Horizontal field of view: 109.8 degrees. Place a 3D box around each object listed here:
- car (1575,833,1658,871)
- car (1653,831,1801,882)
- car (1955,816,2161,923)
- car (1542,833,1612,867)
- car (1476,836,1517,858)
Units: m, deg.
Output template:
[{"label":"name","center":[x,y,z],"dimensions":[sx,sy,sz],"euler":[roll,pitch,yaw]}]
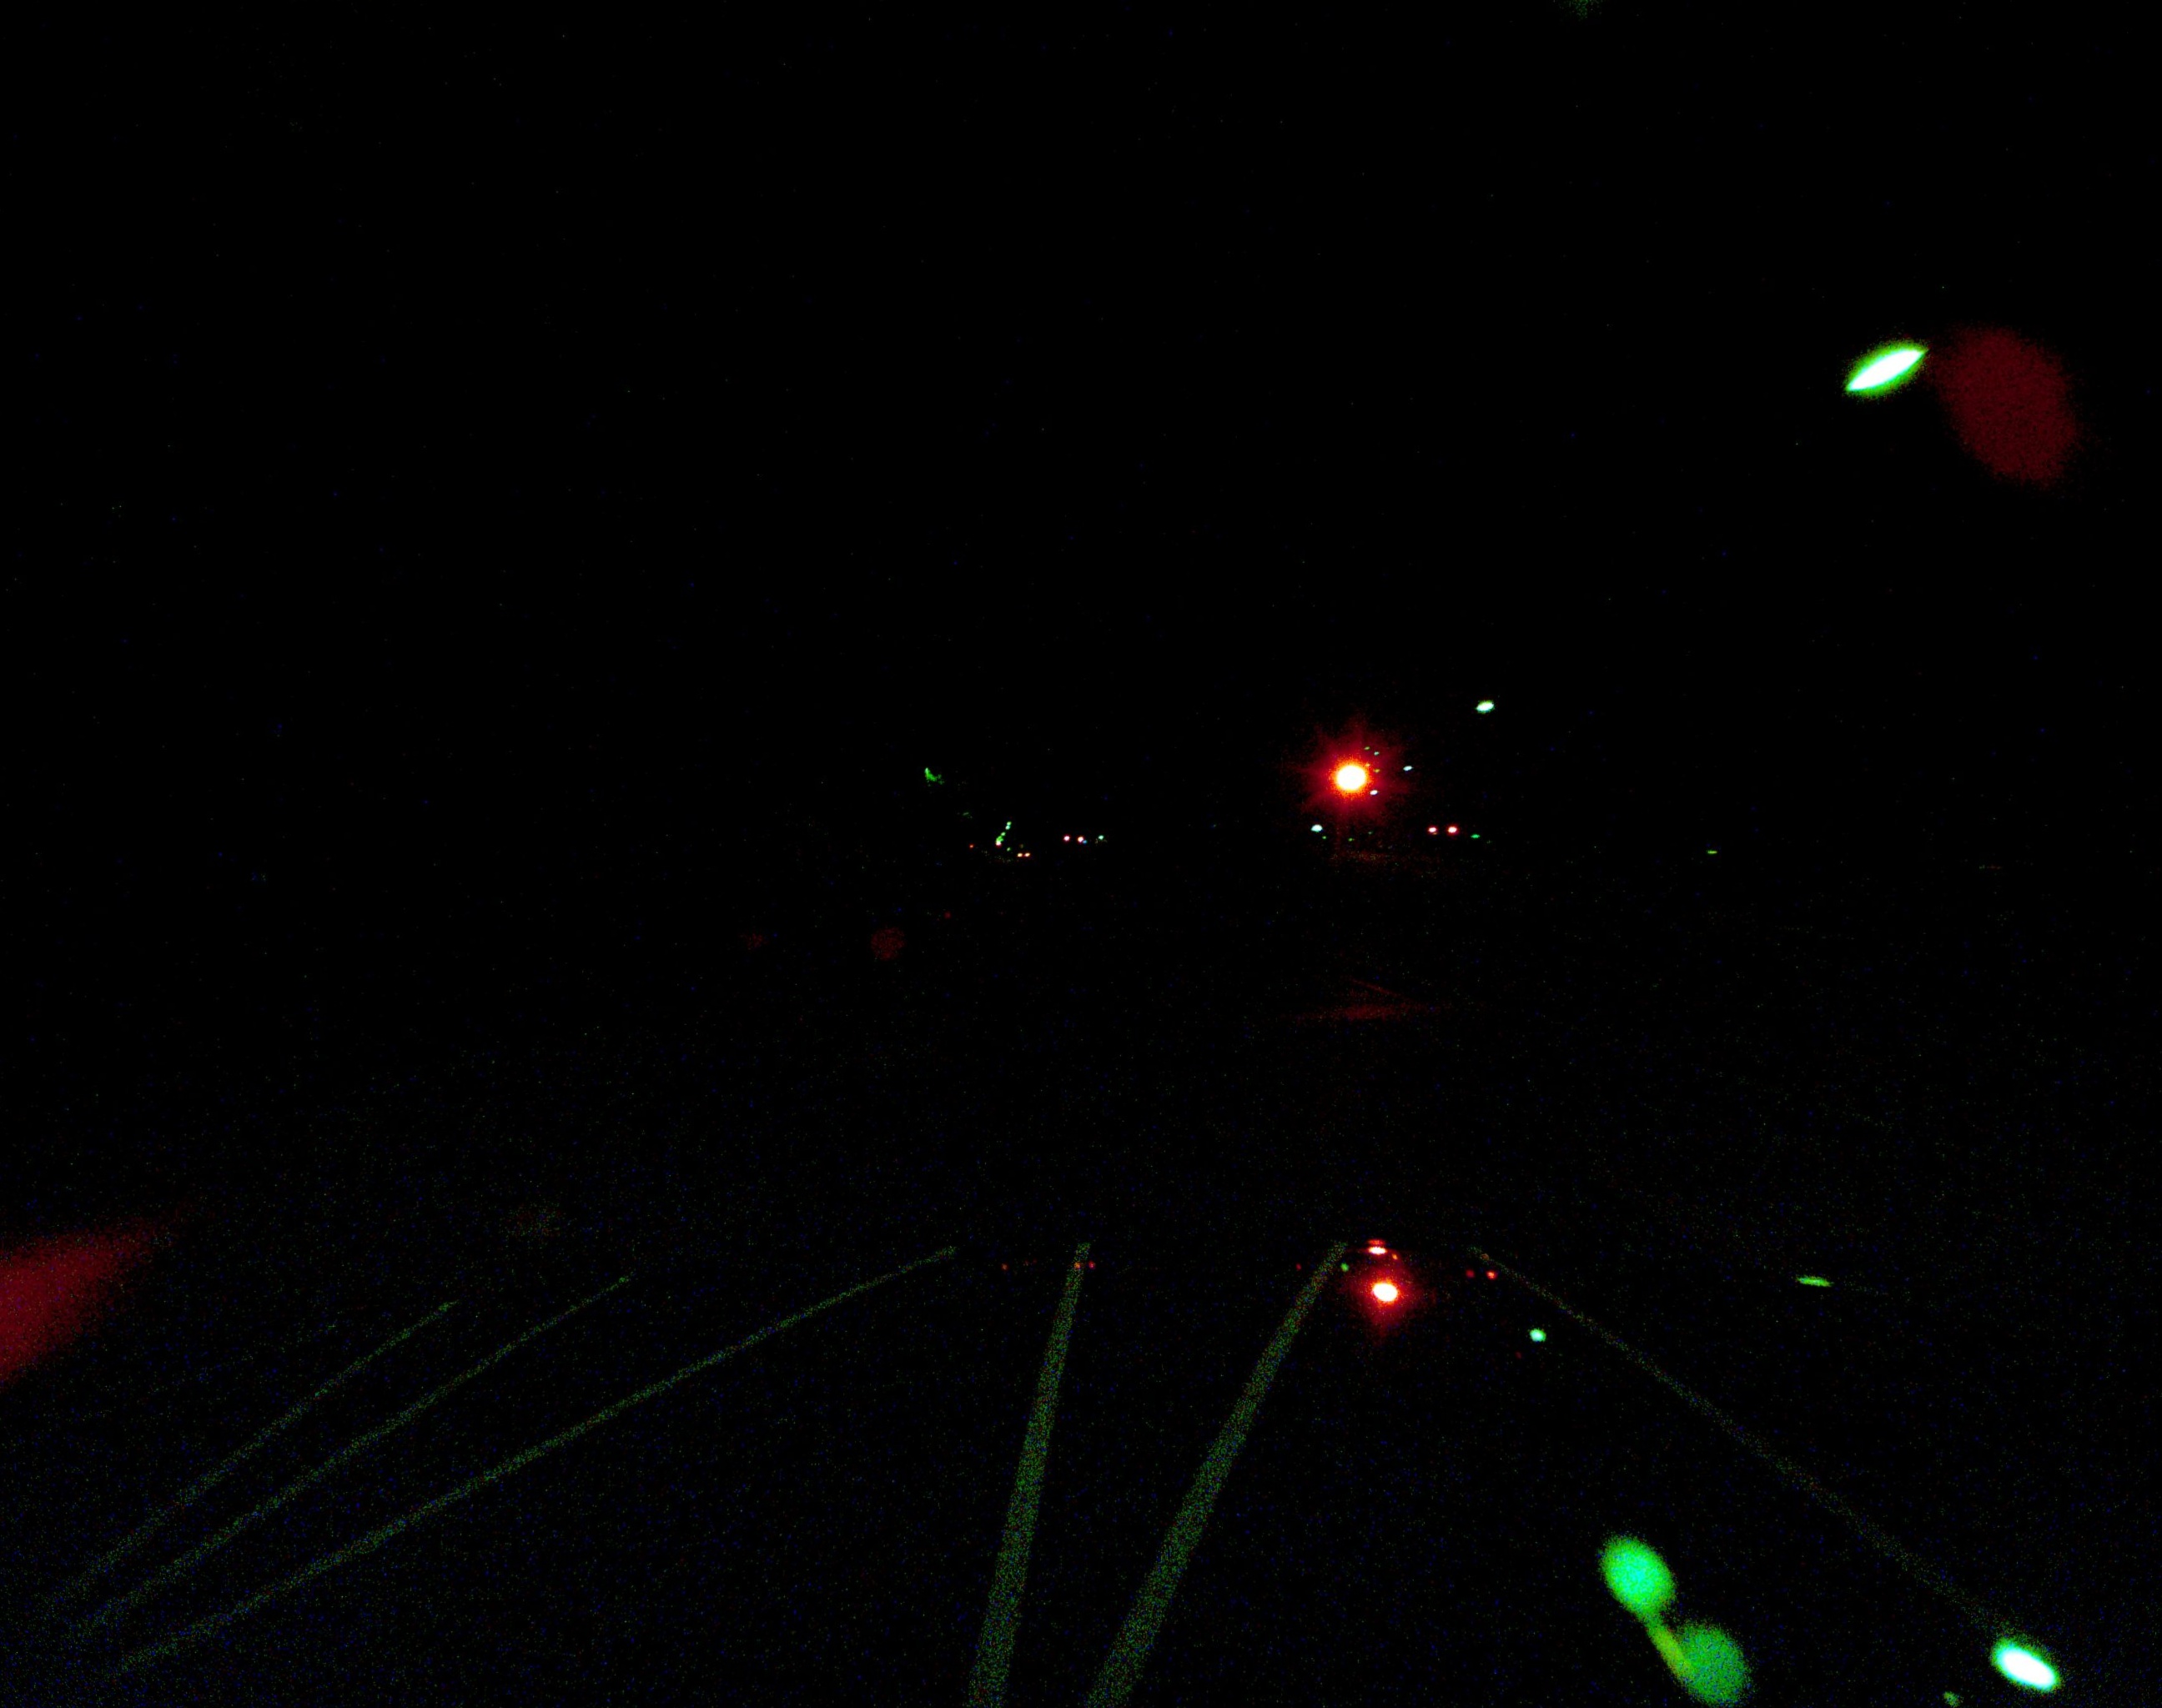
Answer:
[{"label":"car","center":[22.910,-0.130,32.668],"dimensions":[1.553,1.425,4.352],"euler":[-4,0,17]},{"label":"car","center":[20.735,0.040,24.656],"dimensions":[1.863,1.425,4.408],"euler":[-3,0,15]},{"label":"car","center":[16.825,0.182,11.980],"dimensions":[1.863,1.470,4.477],"euler":[-3,0,17]},{"label":"car","center":[24.329,-0.223,37.416],"dimensions":[1.640,1.425,4.354],"euler":[-4,0,17]},{"label":"car","center":[29.078,-0.519,53.234],"dimensions":[1.631,1.455,3.517],"euler":[-1,1,13]}]
